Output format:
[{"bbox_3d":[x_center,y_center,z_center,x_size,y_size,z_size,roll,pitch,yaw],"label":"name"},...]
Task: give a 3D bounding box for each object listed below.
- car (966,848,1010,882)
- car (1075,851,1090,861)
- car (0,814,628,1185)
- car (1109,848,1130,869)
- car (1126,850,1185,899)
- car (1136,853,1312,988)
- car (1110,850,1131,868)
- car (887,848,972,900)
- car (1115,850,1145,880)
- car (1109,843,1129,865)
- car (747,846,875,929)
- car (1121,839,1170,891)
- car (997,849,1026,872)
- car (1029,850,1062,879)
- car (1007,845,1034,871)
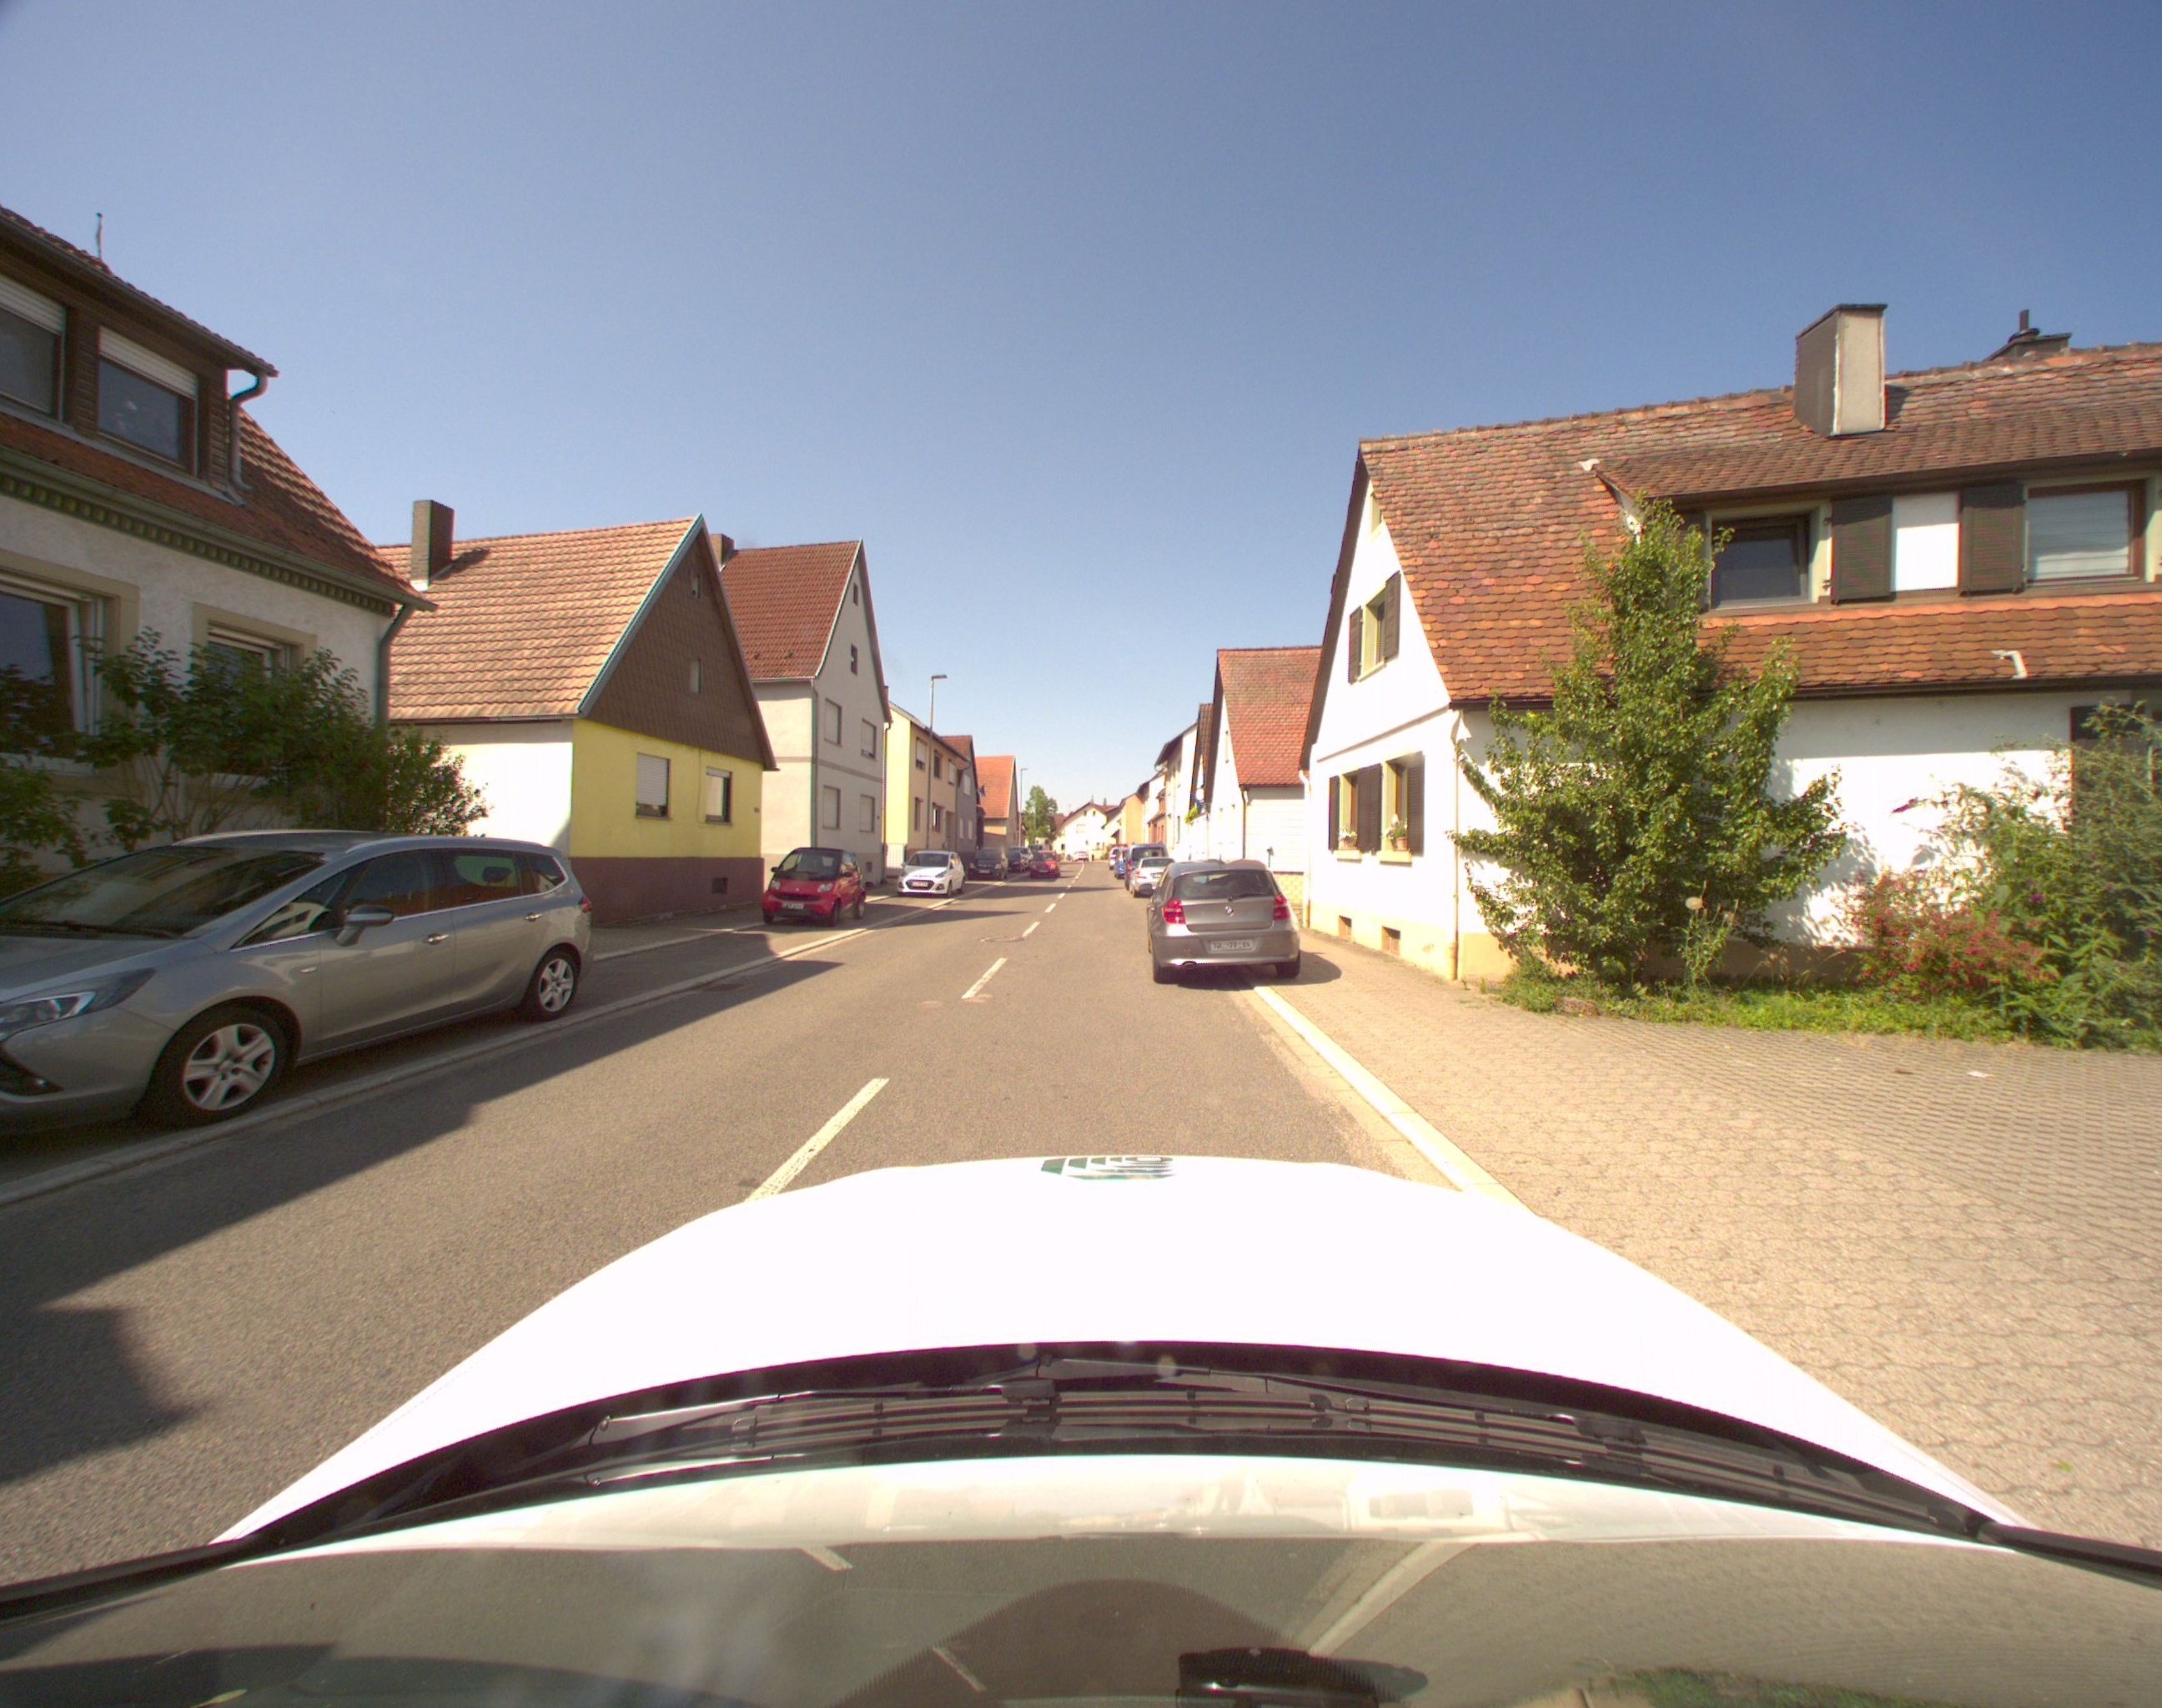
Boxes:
[{"bbox_3d":[-4.588,0.519,40.685,1.613,1.577,3.962,2,0,1],"label":"car"},{"bbox_3d":[0.267,0.321,110.950,1.986,1.288,4.001,0,-1,1],"label":"car"},{"bbox_3d":[-5.573,0.623,5.781,1.865,1.636,4.667,2,0,3],"label":"car"},{"bbox_3d":[2.881,0.338,60.983,1.415,1.515,3.304,2,0,1],"label":"car"},{"bbox_3d":[2.464,0.652,27.496,1.699,1.496,3.453,2,0,1],"label":"car"},{"bbox_3d":[1.693,0.734,10.853,1.698,1.433,3.890,-1,0,1],"label":"car"},{"bbox_3d":[3.305,0.414,68.837,1.760,1.433,3.451,0,-1,2],"label":"car"},{"bbox_3d":[-4.966,0.615,27.294,1.799,1.548,4.406,2,0,2],"label":"car"},{"bbox_3d":[2.604,0.557,43.413,1.415,1.515,3.304,2,0,1],"label":"car"},{"bbox_3d":[3.476,0.006,74.141,1.760,2.004,3.451,0,-1,2],"label":"car"},{"bbox_3d":[-5.598,0.648,17.220,1.546,1.544,2.989,2,0,2],"label":"car"},{"bbox_3d":[2.499,0.411,32.225,1.643,1.910,3.626,2,0,1],"label":"car"},{"bbox_3d":[-4.447,0.436,52.570,1.498,1.453,3.510,0,-1,2],"label":"car"},{"bbox_3d":[-1.976,0.574,46.129,1.595,1.489,3.626,2,0,1],"label":"car"},{"bbox_3d":[-4.204,0.291,56.991,1.522,1.713,3.626,2,0,1],"label":"car"}]
